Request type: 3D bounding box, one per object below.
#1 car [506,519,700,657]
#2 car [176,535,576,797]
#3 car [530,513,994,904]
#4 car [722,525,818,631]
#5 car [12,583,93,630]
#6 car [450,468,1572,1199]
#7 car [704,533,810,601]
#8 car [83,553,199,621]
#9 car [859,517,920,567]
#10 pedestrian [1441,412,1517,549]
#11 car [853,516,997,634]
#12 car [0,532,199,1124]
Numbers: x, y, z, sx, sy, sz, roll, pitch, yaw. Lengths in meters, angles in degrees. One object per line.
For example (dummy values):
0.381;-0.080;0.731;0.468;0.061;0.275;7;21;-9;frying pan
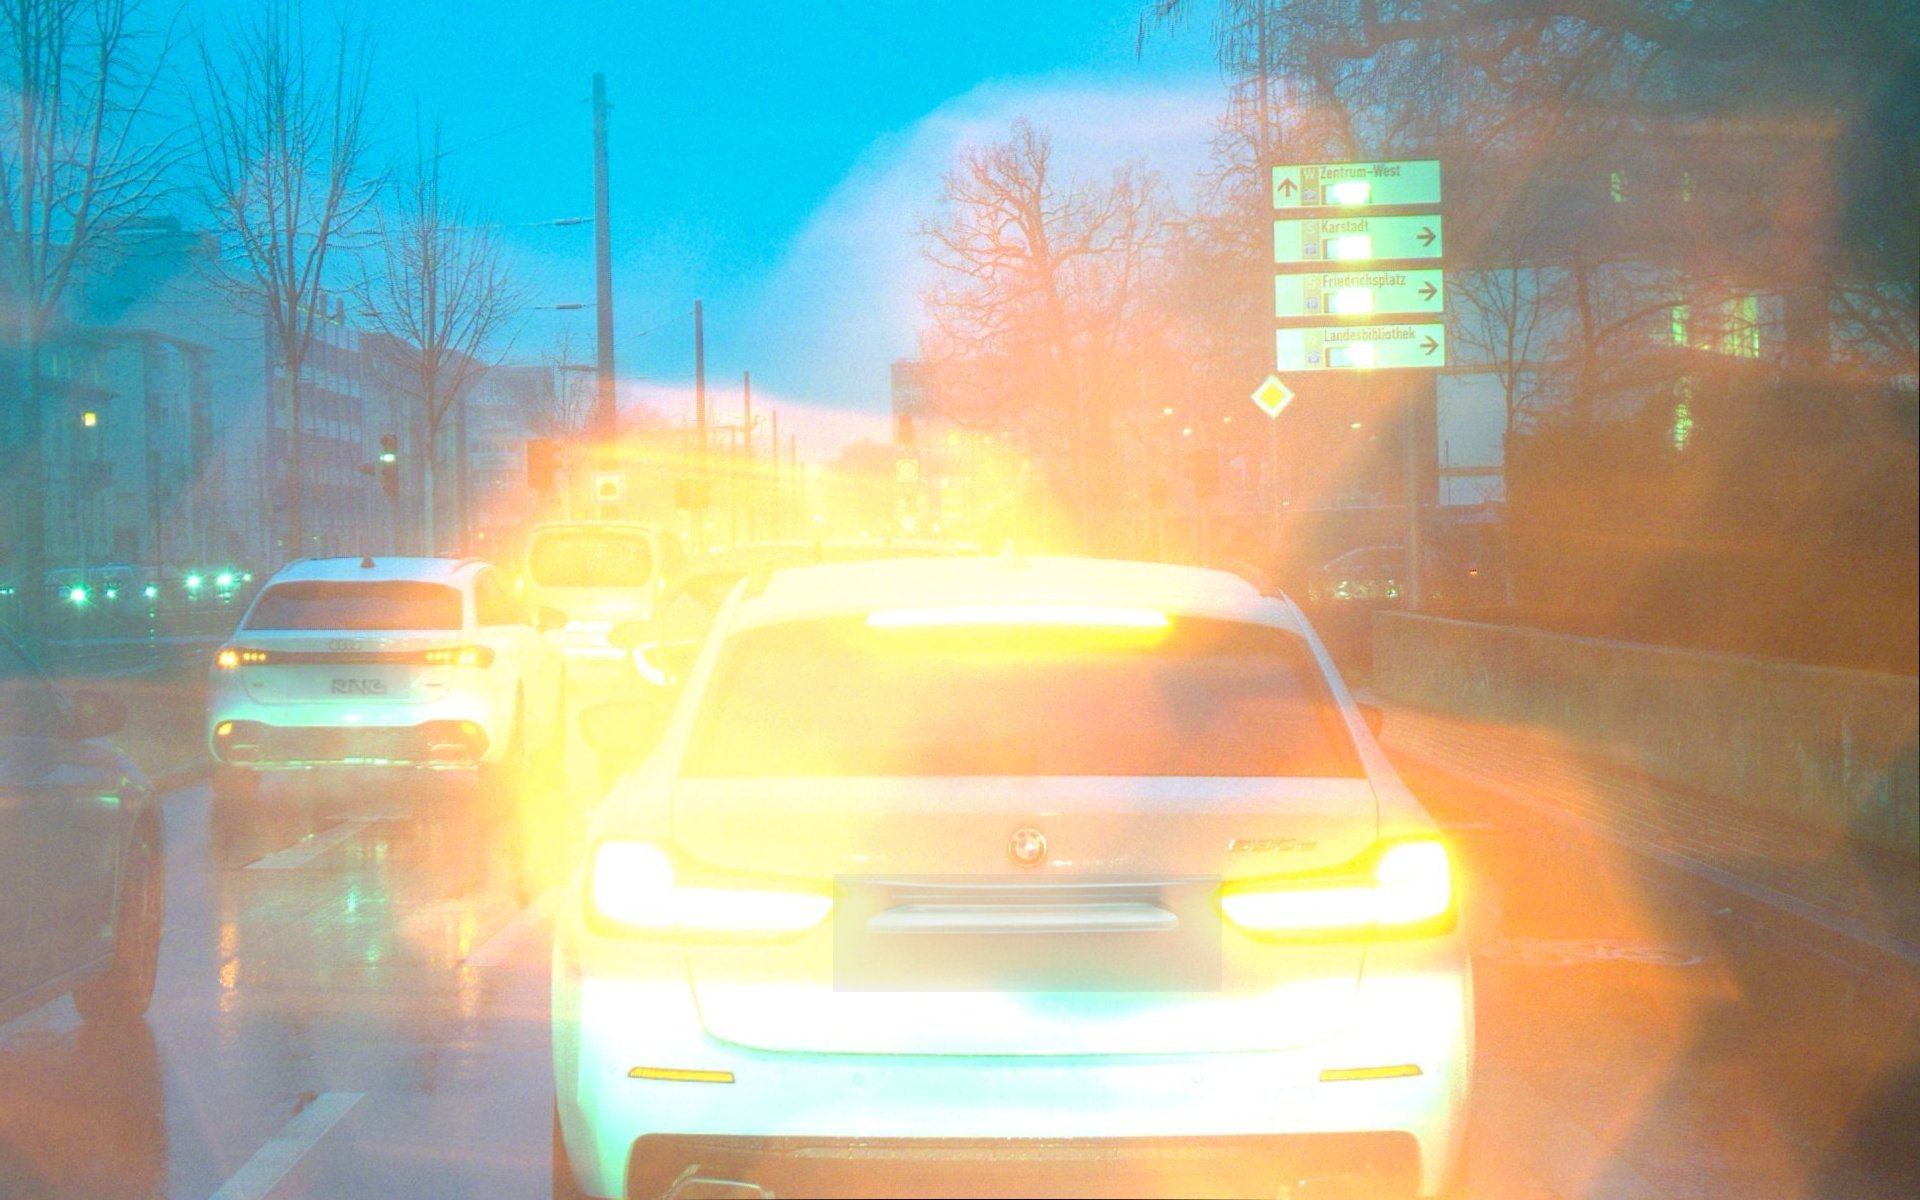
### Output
-3.952;-0.169;38.616;1.737;1.415;4.394;-1;1;-1;car
-3.604;0.338;22.023;1.799;1.461;4.586;-1;1;-1;car
-0.800;0.401;15.472;1.800;1.505;3.895;-1;1;-1;car
-3.108;-0.361;55.863;1.505;1.647;2.845;1;1;-4;car
-26.106;0.178;98.998;1.690;1.273;4.149;-1;1;-7;car
0.064;0.526;8.256;1.862;1.550;4.938;-1;1;-1;car
-4.007;-0.662;68.462;1.930;1.284;4.000;1;1;-1;car
-20.119;-0.339;84.564;1.993;1.597;4.000;1;1;-2;car
-2.079;-1.726;102.039;1.737;1.415;4.146;-1;1;-1;car
7.768;-1.775;51.466;0.959;2.007;1.008;-1;1;1;pedestrian
-0.450;-0.347;44.170;1.737;1.415;3.703;-1;1;-1;car
-3.337;0.574;9.480;1.693;1.528;4.000;0;1;-2;car
